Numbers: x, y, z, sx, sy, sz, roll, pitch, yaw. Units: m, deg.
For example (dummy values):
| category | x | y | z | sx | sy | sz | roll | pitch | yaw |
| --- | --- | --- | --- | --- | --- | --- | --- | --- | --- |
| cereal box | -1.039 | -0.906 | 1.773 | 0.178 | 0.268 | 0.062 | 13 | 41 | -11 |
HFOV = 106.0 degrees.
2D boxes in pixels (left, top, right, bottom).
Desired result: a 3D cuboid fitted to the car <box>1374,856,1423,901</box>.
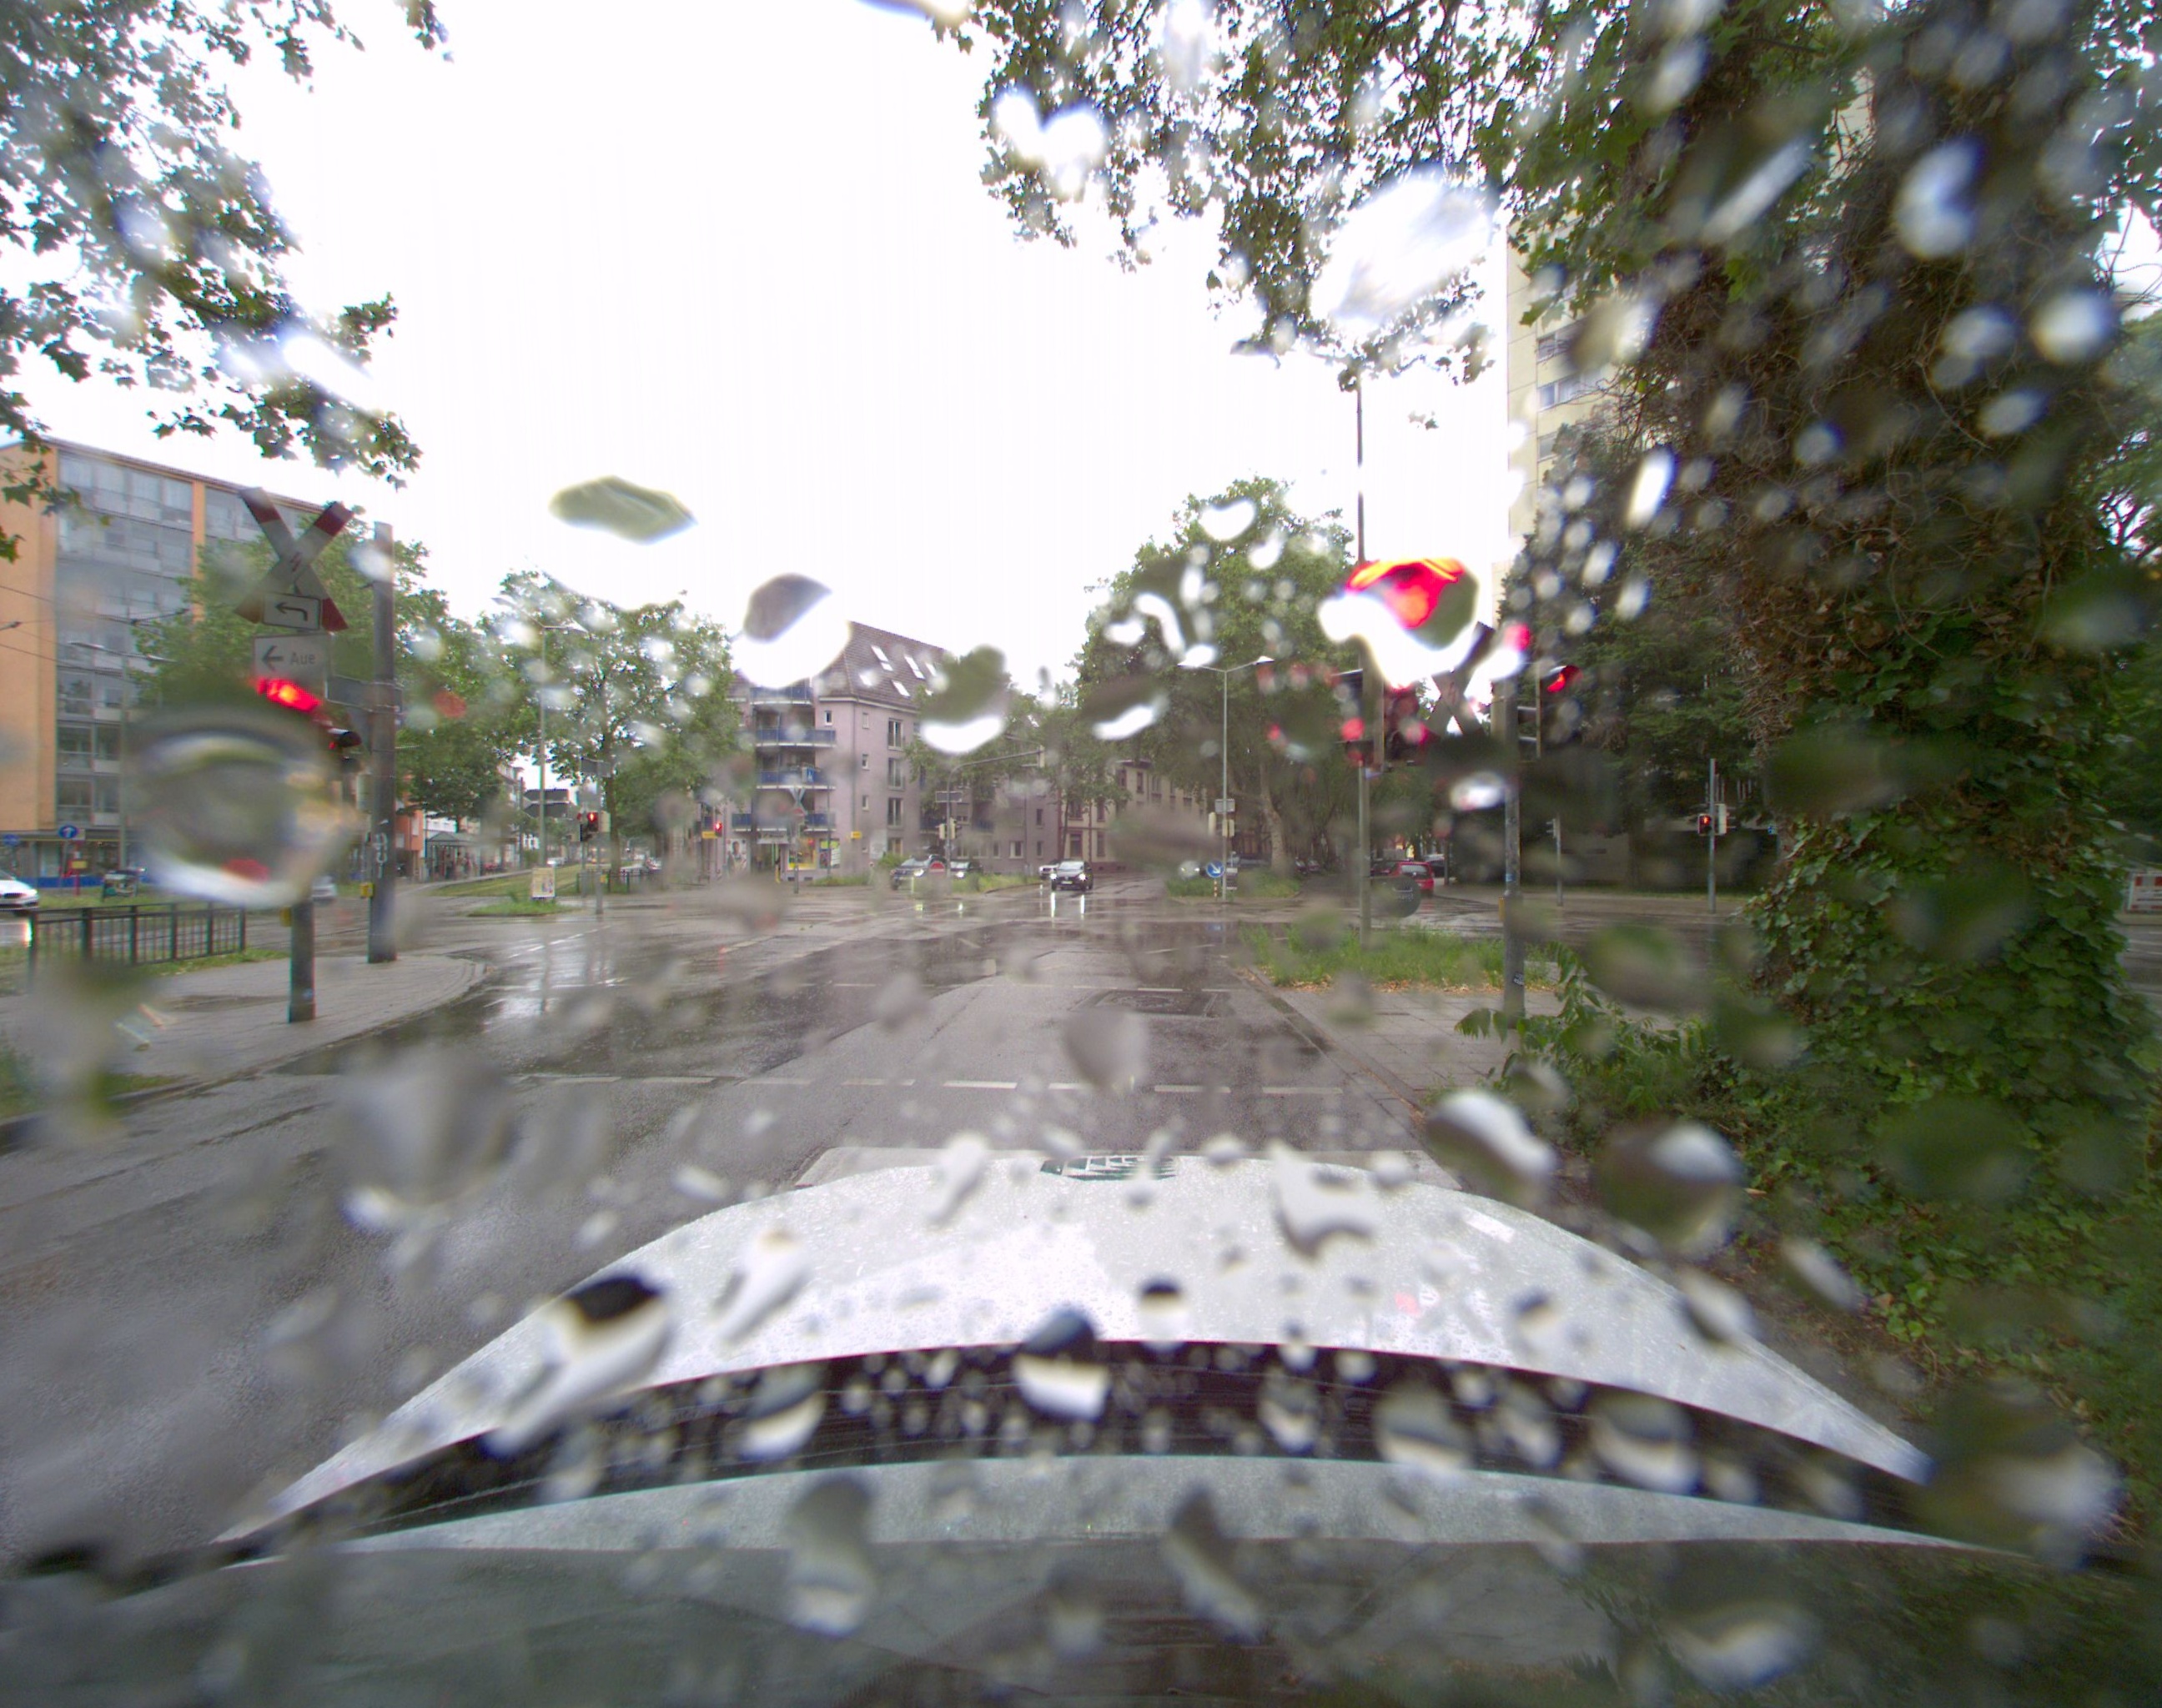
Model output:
| category | x | y | z | sx | sy | sz | roll | pitch | yaw |
| --- | --- | --- | --- | --- | --- | --- | --- | --- | --- |
| car | 15.720 | 1.171 | 40.487 | 1.977 | 2.013 | 4.019 | -2 | 0 | 18 |

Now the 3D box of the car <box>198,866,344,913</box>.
| category | x | y | z | sx | sy | sz | roll | pitch | yaw |
| --- | --- | --- | --- | --- | --- | --- | --- | --- | --- |
| car | -28.565 | 1.240 | 28.781 | 3.622 | 1.486 | 1.728 | -2 | 0 | 6 |

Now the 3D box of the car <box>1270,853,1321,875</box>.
| category | x | y | z | sx | sy | sz | roll | pitch | yaw |
| --- | --- | --- | --- | --- | --- | --- | --- | --- | --- |
| car | 17.169 | 0.787 | 65.315 | 3.571 | 1.618 | 1.692 | -2 | 0 | 30 |

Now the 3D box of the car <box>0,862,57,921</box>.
| category | x | y | z | sx | sy | sz | roll | pitch | yaw |
| --- | --- | --- | --- | --- | --- | --- | --- | --- | --- |
| car | -32.338 | 1.124 | 23.468 | 3.978 | 1.651 | 1.980 | -2 | 0 | 13 |

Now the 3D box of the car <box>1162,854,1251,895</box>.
| category | x | y | z | sx | sy | sz | roll | pitch | yaw |
| --- | --- | --- | --- | --- | --- | --- | --- | --- | --- |
| car | 5.103 | 0.812 | 32.997 | 3.457 | 1.523 | 1.524 | -2 | 0 | 10 |

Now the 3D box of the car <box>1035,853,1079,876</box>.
| category | x | y | z | sx | sy | sz | roll | pitch | yaw |
| --- | --- | --- | --- | --- | --- | --- | --- | --- | --- |
| car | -1.798 | 0.777 | 62.270 | 1.662 | 1.552 | 4.222 | -2 | 0 | 23 |

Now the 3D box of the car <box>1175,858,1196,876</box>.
| category | x | y | z | sx | sy | sz | roll | pitch | yaw |
| --- | --- | --- | --- | --- | --- | --- | --- | --- | --- |
| car | 9.908 | 1.233 | 76.963 | 1.591 | 1.552 | 3.571 | -2 | 0 | 12 |

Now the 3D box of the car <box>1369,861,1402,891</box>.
| category | x | y | z | sx | sy | sz | roll | pitch | yaw |
| --- | --- | --- | --- | --- | --- | --- | --- | --- | --- |
| car | 22.139 | 1.555 | 59.287 | 1.977 | 2.013 | 4.019 | -2 | 0 | 18 |

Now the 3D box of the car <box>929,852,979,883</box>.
| category | x | y | z | sx | sy | sz | roll | pitch | yaw |
| --- | --- | --- | --- | --- | --- | --- | --- | --- | --- |
| car | -6.987 | 0.712 | 45.223 | 1.715 | 1.552 | 3.567 | -2 | 0 | 8 |

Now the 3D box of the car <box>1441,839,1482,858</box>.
| category | x | y | z | sx | sy | sz | roll | pitch | yaw |
| --- | --- | --- | --- | --- | --- | --- | --- | --- | --- |
| car | 42.557 | -0.617 | 91.130 | 3.953 | 2.013 | 1.716 | -2 | 0 | 21 |

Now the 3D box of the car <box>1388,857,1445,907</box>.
| category | x | y | z | sx | sy | sz | roll | pitch | yaw |
| --- | --- | --- | --- | --- | --- | --- | --- | --- | --- |
| car | 14.855 | 1.203 | 36.246 | 1.977 | 2.013 | 4.019 | -2 | 0 | 18 |

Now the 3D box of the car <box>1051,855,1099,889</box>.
| category | x | y | z | sx | sy | sz | roll | pitch | yaw |
| --- | --- | --- | --- | --- | --- | --- | --- | --- | --- |
| car | -0.251 | 0.878 | 40.633 | 1.591 | 1.552 | 3.572 | -2 | 0 | 13 |

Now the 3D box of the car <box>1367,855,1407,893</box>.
| category | x | y | z | sx | sy | sz | roll | pitch | yaw |
| --- | --- | --- | --- | --- | --- | --- | --- | --- | --- |
| car | 17.774 | 1.120 | 47.472 | 1.977 | 2.013 | 4.019 | -2 | 0 | 18 |

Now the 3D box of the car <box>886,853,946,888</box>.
| category | x | y | z | sx | sy | sz | roll | pitch | yaw |
| --- | --- | --- | --- | --- | --- | --- | --- | --- | --- |
| car | -7.870 | 0.747 | 39.116 | 1.715 | 1.552 | 3.567 | -2 | 0 | 8 |
